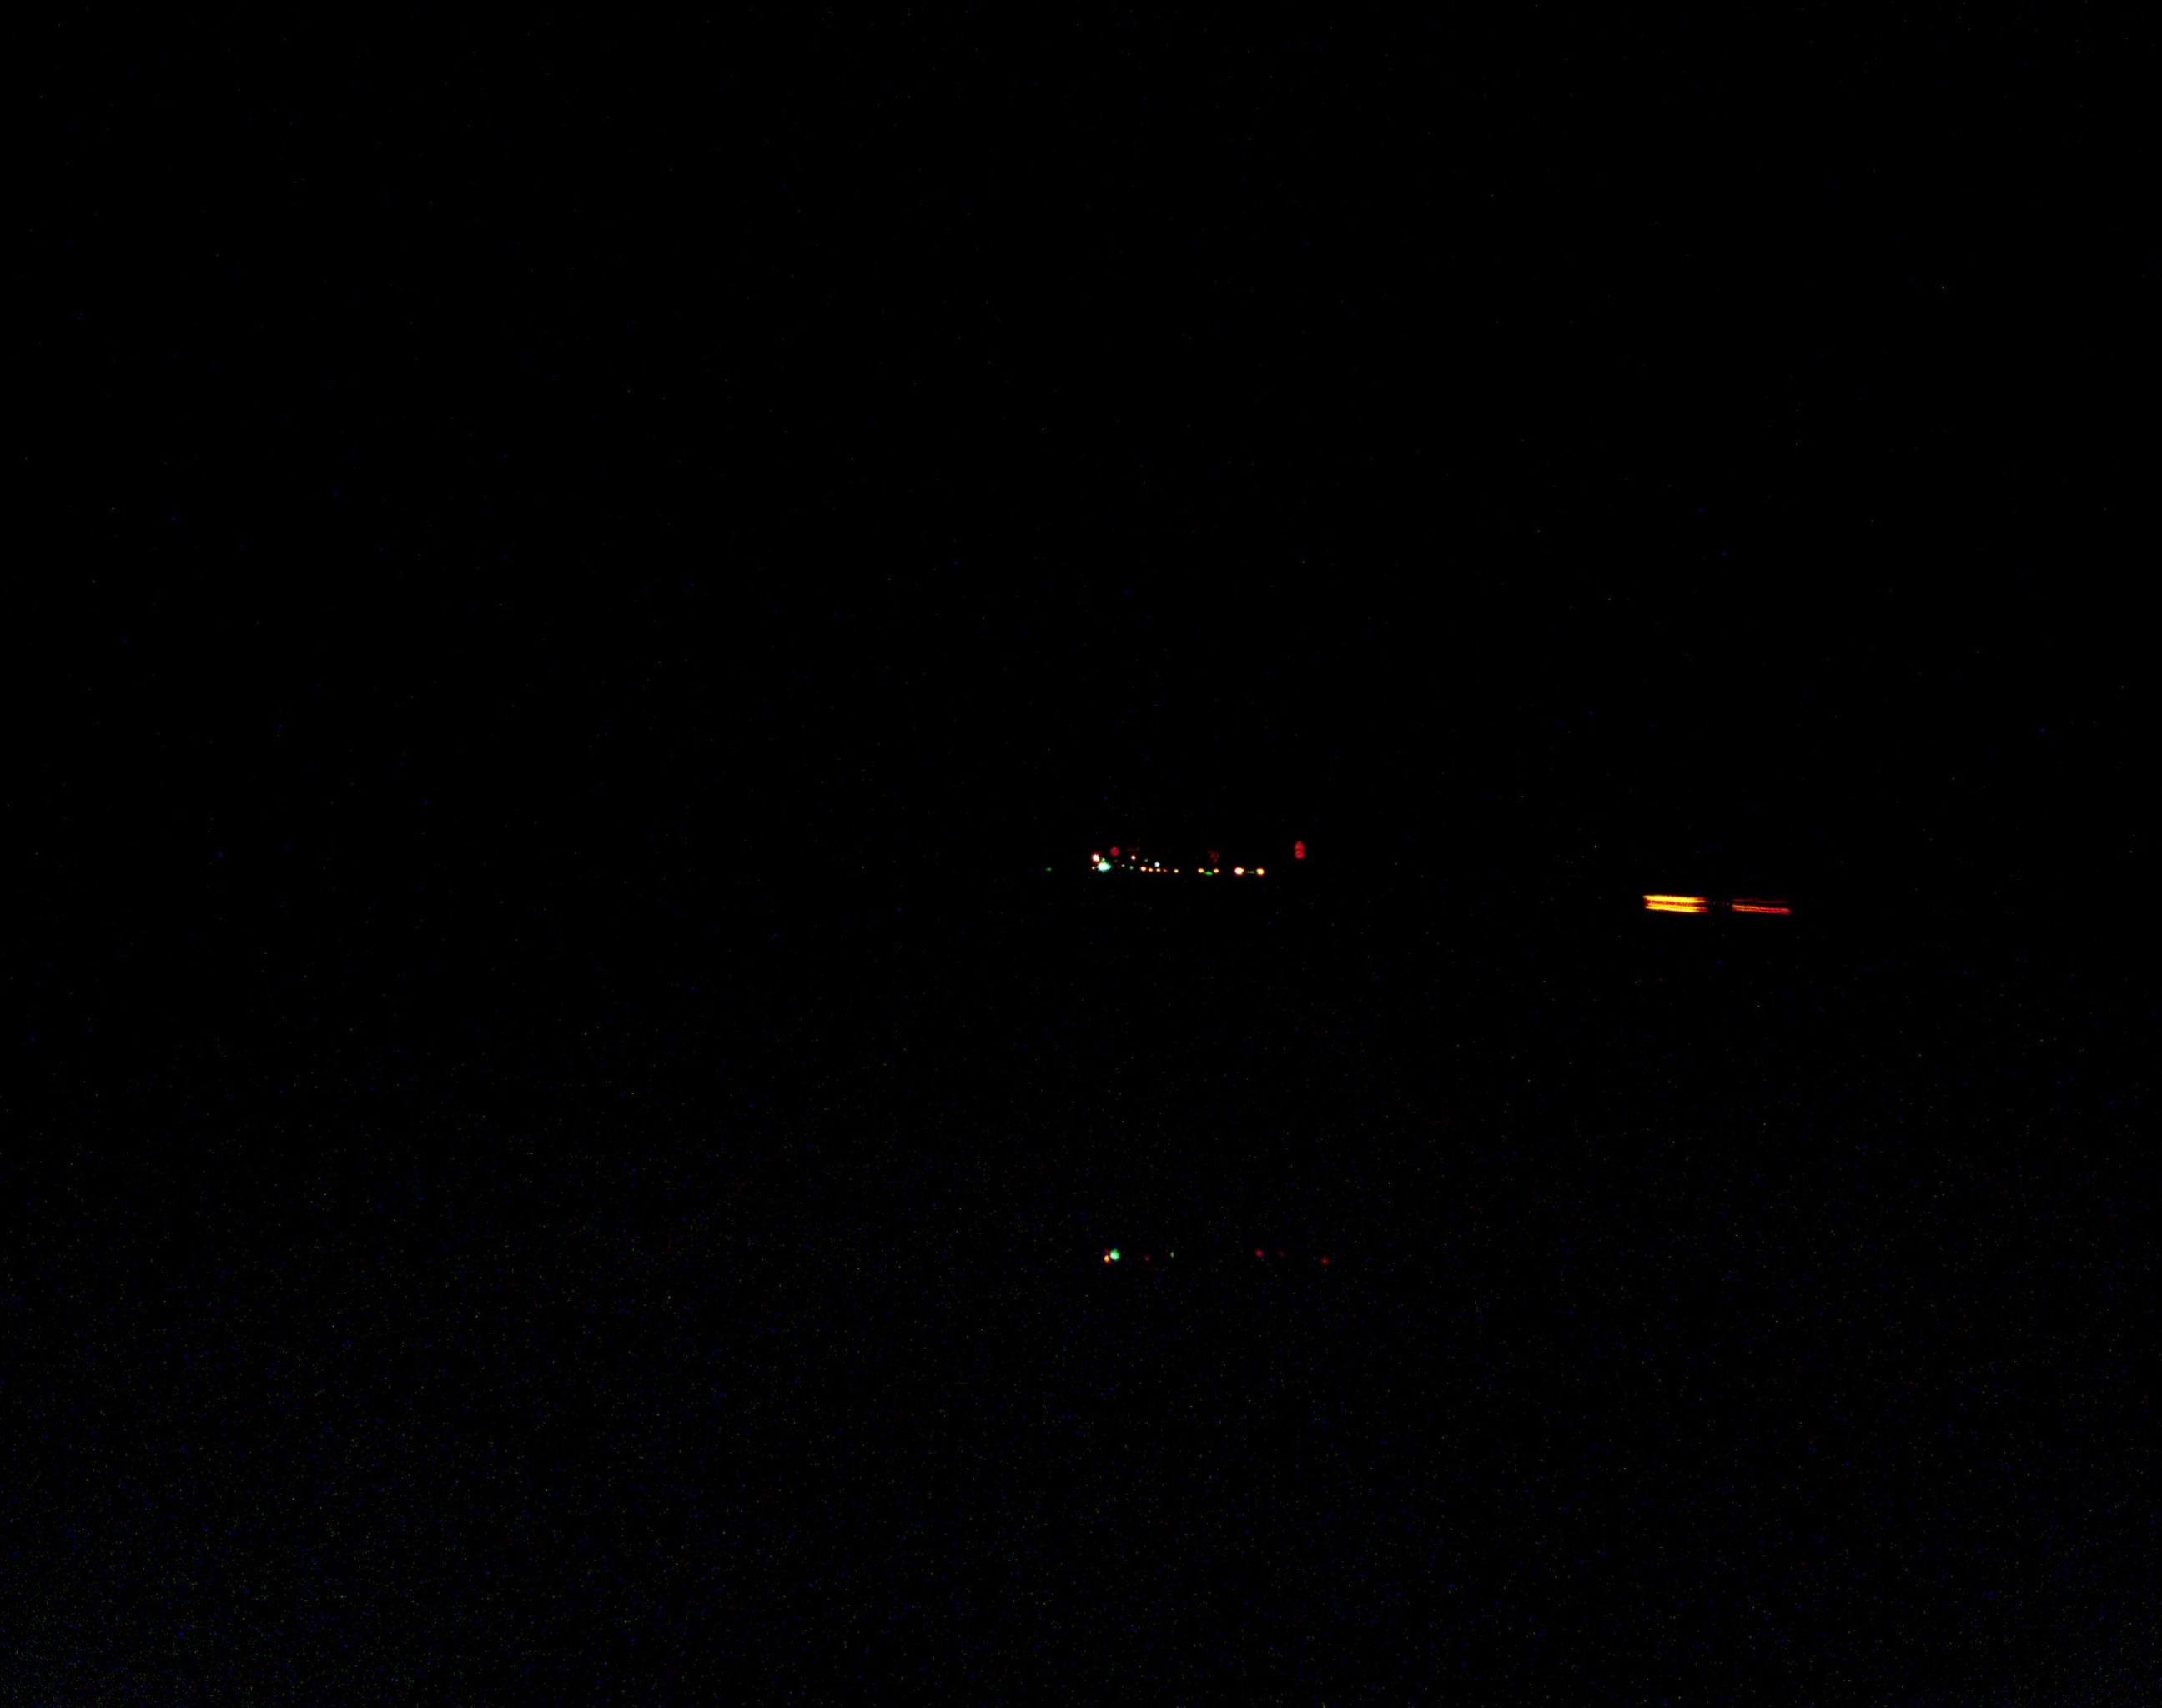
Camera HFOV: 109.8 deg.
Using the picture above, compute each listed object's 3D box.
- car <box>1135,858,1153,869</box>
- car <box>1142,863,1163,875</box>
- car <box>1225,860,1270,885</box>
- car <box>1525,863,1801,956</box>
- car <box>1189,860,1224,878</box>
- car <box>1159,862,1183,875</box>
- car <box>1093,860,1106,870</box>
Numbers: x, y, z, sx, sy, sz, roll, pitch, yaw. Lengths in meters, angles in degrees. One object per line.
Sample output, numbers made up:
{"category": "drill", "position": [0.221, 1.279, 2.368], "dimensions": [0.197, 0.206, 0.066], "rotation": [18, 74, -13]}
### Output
{"category": "car", "position": [10.065, 1.506, 121.397], "dimensions": [2.127, 1.544, 4.697], "rotation": [-1, 0, -4]}
{"category": "car", "position": [9.801, 2.073, 104.134], "dimensions": [2.127, 1.544, 4.697], "rotation": [-1, 0, -4]}
{"category": "car", "position": [11.745, 1.280, 53.917], "dimensions": [2.127, 1.621, 4.698], "rotation": [-1, 0, 0]}
{"category": "car", "position": [10.983, 0.945, 14.897], "dimensions": [1.958, 1.478, 4.699], "rotation": [1, 0, 3]}
{"category": "car", "position": [11.336, 1.312, 69.029], "dimensions": [2.127, 1.544, 4.697], "rotation": [-1, 0, -4]}
{"category": "car", "position": [10.803, 1.734, 91.531], "dimensions": [2.127, 1.544, 4.697], "rotation": [-1, 0, -4]}
{"category": "car", "position": [3.048, 1.784, 123.797], "dimensions": [1.931, 1.510, 4.000], "rotation": [-1, 0, 0]}
